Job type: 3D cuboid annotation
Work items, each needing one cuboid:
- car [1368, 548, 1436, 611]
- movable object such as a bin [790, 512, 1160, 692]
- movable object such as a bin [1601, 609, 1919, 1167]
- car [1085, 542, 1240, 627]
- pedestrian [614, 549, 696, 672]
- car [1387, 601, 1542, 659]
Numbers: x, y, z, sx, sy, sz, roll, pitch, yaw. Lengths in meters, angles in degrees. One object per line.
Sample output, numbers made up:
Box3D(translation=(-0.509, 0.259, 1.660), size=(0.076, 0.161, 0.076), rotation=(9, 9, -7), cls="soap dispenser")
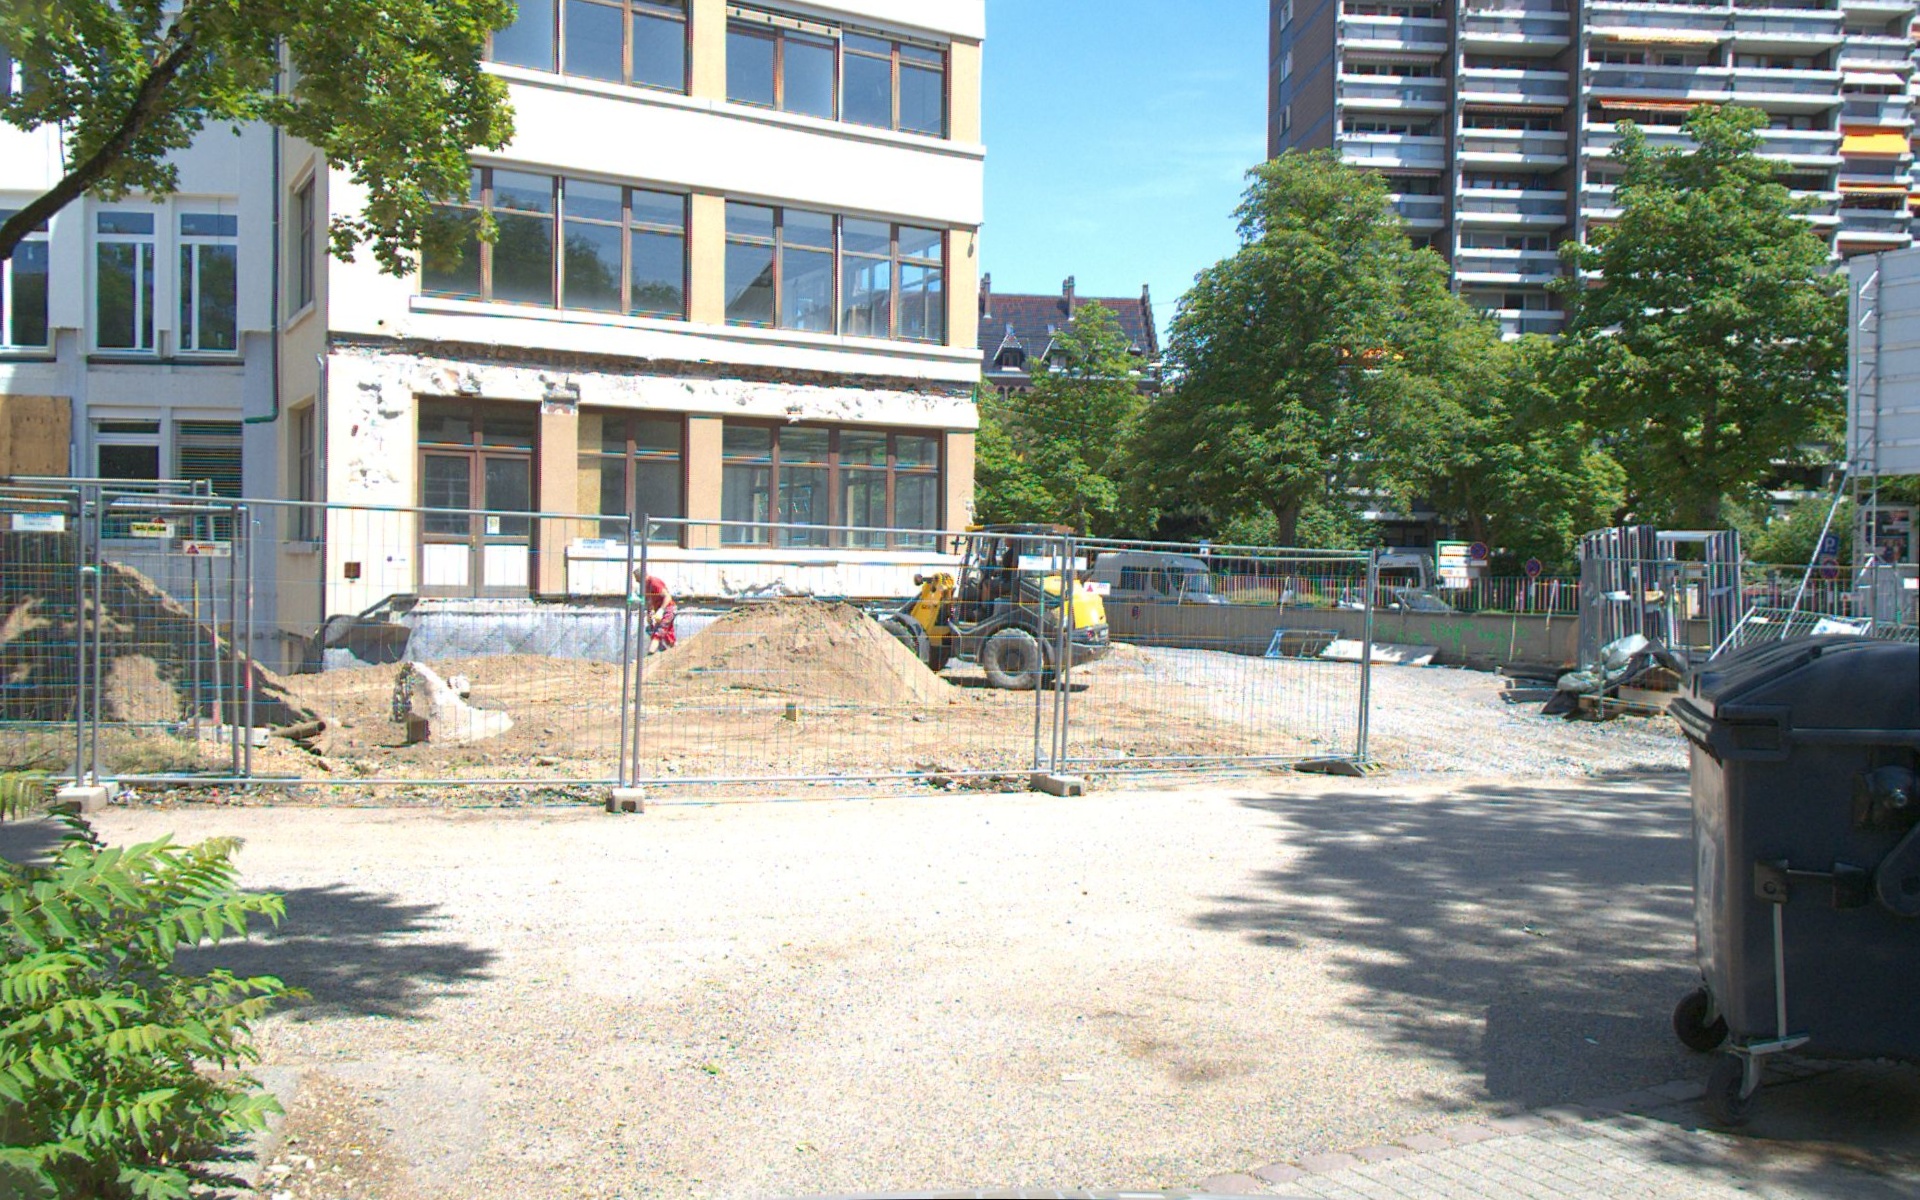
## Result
Box3D(translation=(16.850, -0.766, 62.947), size=(2.139, 2.297, 4.870), rotation=(0, 0, 19), cls="car")
Box3D(translation=(0.253, -0.029, 26.118), size=(5.292, 2.507, 2.368), rotation=(2, 1, 21), cls="movable object such as a bin")
Box3D(translation=(2.799, 0.783, 5.151), size=(1.053, 1.483, 1.377), rotation=(0, 0, -1), cls="movable object such as a bin")
Box3D(translation=(6.121, -0.476, 50.551), size=(1.973, 2.458, 5.189), rotation=(0, 0, -31), cls="car")
Box3D(translation=(-4.793, 0.161, 25.999), size=(0.975, 1.879, 0.905), rotation=(0, 0, -36), cls="pedestrian")
Box3D(translation=(12.298, 0.711, 40.257), size=(3.676, 1.343, 1.597), rotation=(0, 0, -32), cls="car")
